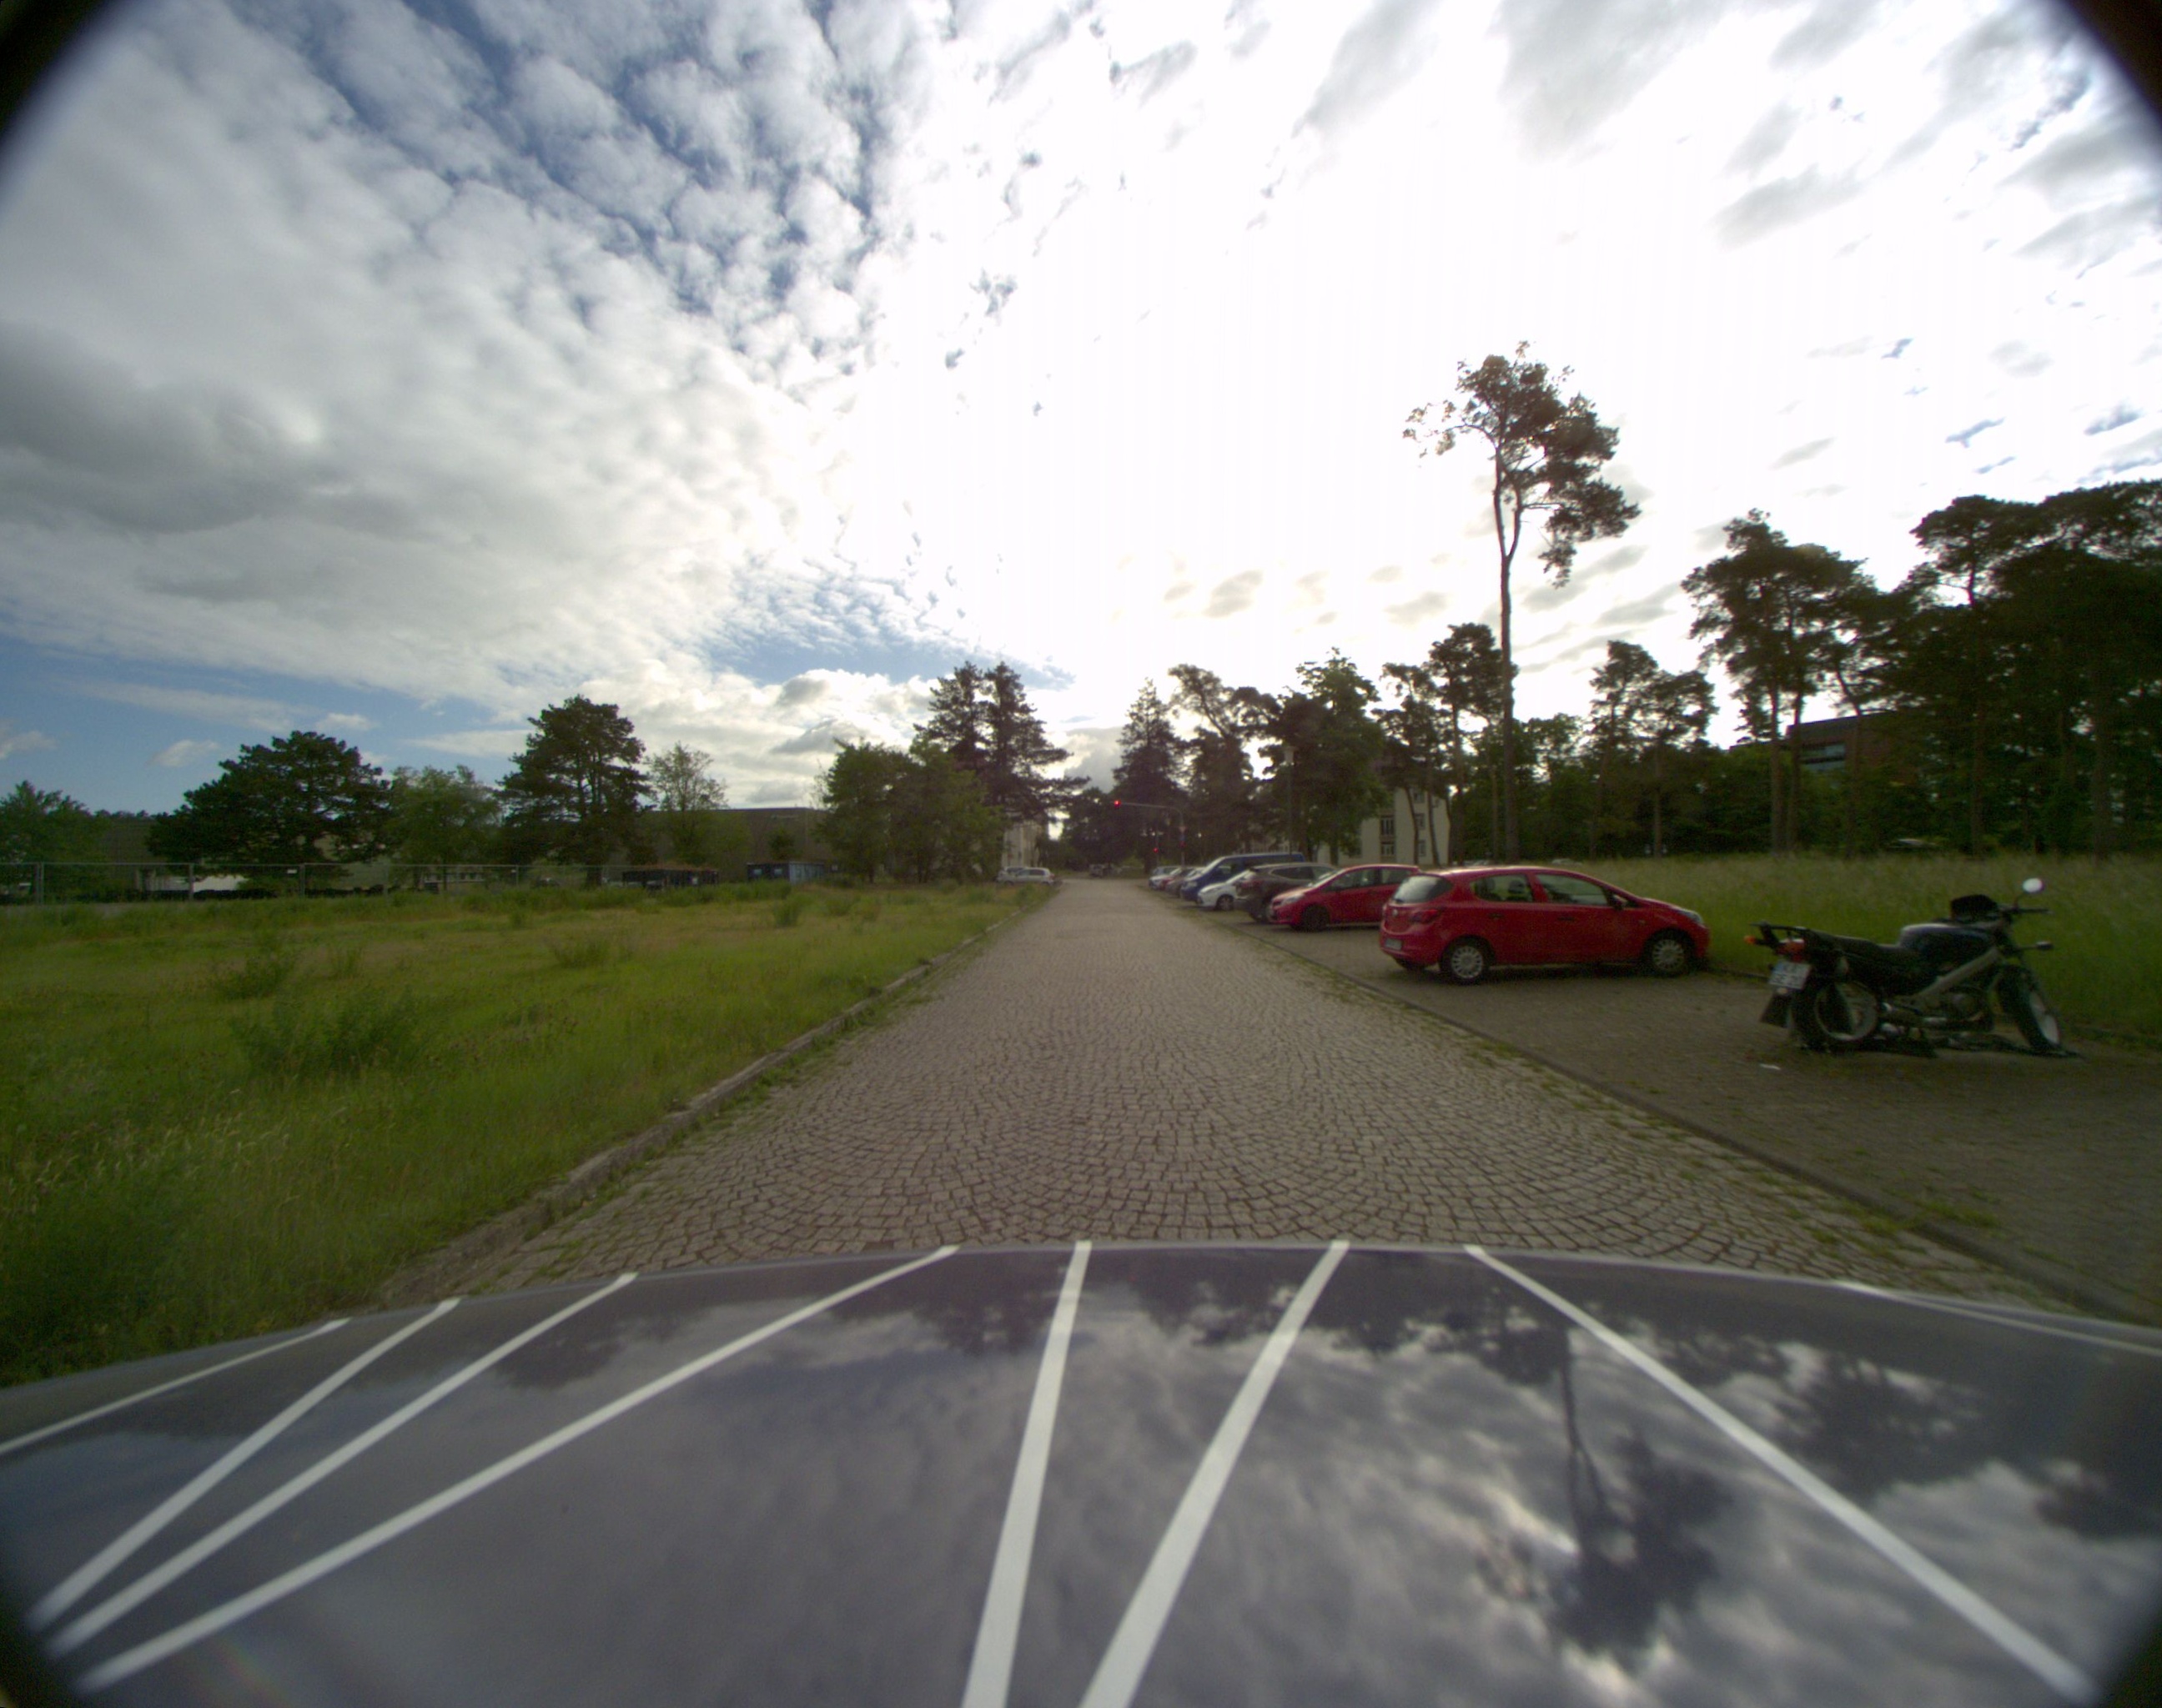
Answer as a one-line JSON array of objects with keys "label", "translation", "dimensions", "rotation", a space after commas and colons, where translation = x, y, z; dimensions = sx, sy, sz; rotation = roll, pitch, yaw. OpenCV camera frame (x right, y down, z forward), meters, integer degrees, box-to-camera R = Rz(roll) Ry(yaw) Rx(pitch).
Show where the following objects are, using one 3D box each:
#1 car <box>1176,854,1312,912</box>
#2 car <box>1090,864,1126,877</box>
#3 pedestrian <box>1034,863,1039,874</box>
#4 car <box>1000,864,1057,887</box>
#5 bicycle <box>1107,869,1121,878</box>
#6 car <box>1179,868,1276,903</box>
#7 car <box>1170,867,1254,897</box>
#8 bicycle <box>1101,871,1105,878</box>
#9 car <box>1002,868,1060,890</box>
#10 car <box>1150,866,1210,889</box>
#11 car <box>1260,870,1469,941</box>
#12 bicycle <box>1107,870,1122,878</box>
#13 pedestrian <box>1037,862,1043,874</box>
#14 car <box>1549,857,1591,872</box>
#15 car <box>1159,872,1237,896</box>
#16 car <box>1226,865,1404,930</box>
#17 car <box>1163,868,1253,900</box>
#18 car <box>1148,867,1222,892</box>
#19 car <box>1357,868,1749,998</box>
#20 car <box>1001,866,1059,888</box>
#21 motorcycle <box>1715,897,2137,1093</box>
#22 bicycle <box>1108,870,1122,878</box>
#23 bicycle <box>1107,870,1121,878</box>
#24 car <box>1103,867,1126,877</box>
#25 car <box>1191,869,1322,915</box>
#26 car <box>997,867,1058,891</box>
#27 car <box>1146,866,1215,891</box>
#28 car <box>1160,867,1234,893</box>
[{"label": "car", "translation": [6.227, 1.095, 29.475], "dimensions": [4.794, 2.109, 2.115], "rotation": [-1, -1, 0]}, {"label": "car", "translation": [4.241, 2.598, 120.542], "dimensions": [5.366, 1.987, 2.290], "rotation": [-1, -1, -7]}, {"label": "pedestrian", "translation": [-6.884, 2.280, 117.736], "dimensions": [0.568, 1.691, 0.532], "rotation": [-1, 0, 5]}, {"label": "car", "translation": [-3.985, 1.632, 57.929], "dimensions": [4.251, 1.586, 1.885], "rotation": [2, -1, -3]}, {"label": "bicycle", "translation": [4.467, 2.646, 102.654], "dimensions": [1.950, 1.104, 0.563], "rotation": [-1, -1, -1]}, {"label": "car", "translation": [6.636, 1.424, 34.761], "dimensions": [4.077, 1.488, 1.846], "rotation": [-1, -1, 2]}, {"label": "car", "translation": [6.926, 1.479, 40.526], "dimensions": [4.176, 1.473, 1.846], "rotation": [-1, -1, 2]}, {"label": "bicycle", "translation": [2.853, 2.646, 98.704], "dimensions": [0.459, 0.903, 1.663], "rotation": [-1, -1, 5]}, {"label": "car", "translation": [-3.608, 1.794, 55.203], "dimensions": [4.084, 1.444, 1.885], "rotation": [2, -1, -1]}, {"label": "car", "translation": [6.903, 1.641, 53.330], "dimensions": [3.997, 1.533, 1.905], "rotation": [-1, -1, 0]}, {"label": "car", "translation": [6.531, 1.154, 17.843], "dimensions": [4.177, 1.501, 1.907], "rotation": [-1, -1, 0]}, {"label": "bicycle", "translation": [4.557, 2.671, 103.181], "dimensions": [1.950, 1.058, 0.563], "rotation": [-1, -1, -1]}, {"label": "pedestrian", "translation": [-6.333, 2.168, 116.688], "dimensions": [0.589, 1.926, 0.792], "rotation": [-1, -1, -32]}, {"label": "car", "translation": [60.752, 1.262, 94.394], "dimensions": [3.996, 1.796, 1.723], "rotation": [-1, -1, 4]}, {"label": "car", "translation": [6.612, 1.682, 43.187], "dimensions": [4.176, 1.259, 1.832], "rotation": [-1, -1, 2]}, {"label": "car", "translation": [6.243, 1.143, 20.590], "dimensions": [4.177, 1.612, 1.987], "rotation": [-1, -1, -2]}, {"label": "car", "translation": [6.237, 1.454, 37.609], "dimensions": [4.176, 1.482, 1.865], "rotation": [-1, -1, 3]}, {"label": "car", "translation": [6.522, 1.576, 47.860], "dimensions": [4.385, 1.498, 1.936], "rotation": [-1, -1, -1]}, {"label": "car", "translation": [6.106, 0.981, 10.218], "dimensions": [4.065, 1.516, 1.905], "rotation": [-1, -1, 0]}, {"label": "car", "translation": [-4.003, 1.806, 60.482], "dimensions": [4.504, 1.556, 1.905], "rotation": [2, -1, -1]}, {"label": "motorcycle", "translation": [6.270, 1.022, 5.737], "dimensions": [2.280, 1.284, 0.719], "rotation": [-2, 0, 2]}, {"label": "bicycle", "translation": [4.653, 2.671, 103.827], "dimensions": [1.950, 1.058, 0.563], "rotation": [-1, -1, -1]}, {"label": "bicycle", "translation": [4.403, 2.669, 102.099], "dimensions": [1.898, 1.058, 0.616], "rotation": [-1, -1, -1]}, {"label": "car", "translation": [5.154, 2.775, 116.887], "dimensions": [3.439, 1.440, 1.913], "rotation": [-1, -1, 0]}, {"label": "car", "translation": [6.132, 1.311, 26.886], "dimensions": [4.177, 1.501, 1.781], "rotation": [-1, -1, -1]}, {"label": "car", "translation": [-3.666, 1.719, 52.494], "dimensions": [4.084, 1.506, 1.804], "rotation": [2, -1, -1]}, {"label": "car", "translation": [6.589, 1.604, 50.605], "dimensions": [4.262, 1.538, 1.935], "rotation": [-1, -1, -3]}, {"label": "car", "translation": [6.895, 1.549, 45.556], "dimensions": [4.176, 1.467, 1.865], "rotation": [-1, -1, 0]}]
